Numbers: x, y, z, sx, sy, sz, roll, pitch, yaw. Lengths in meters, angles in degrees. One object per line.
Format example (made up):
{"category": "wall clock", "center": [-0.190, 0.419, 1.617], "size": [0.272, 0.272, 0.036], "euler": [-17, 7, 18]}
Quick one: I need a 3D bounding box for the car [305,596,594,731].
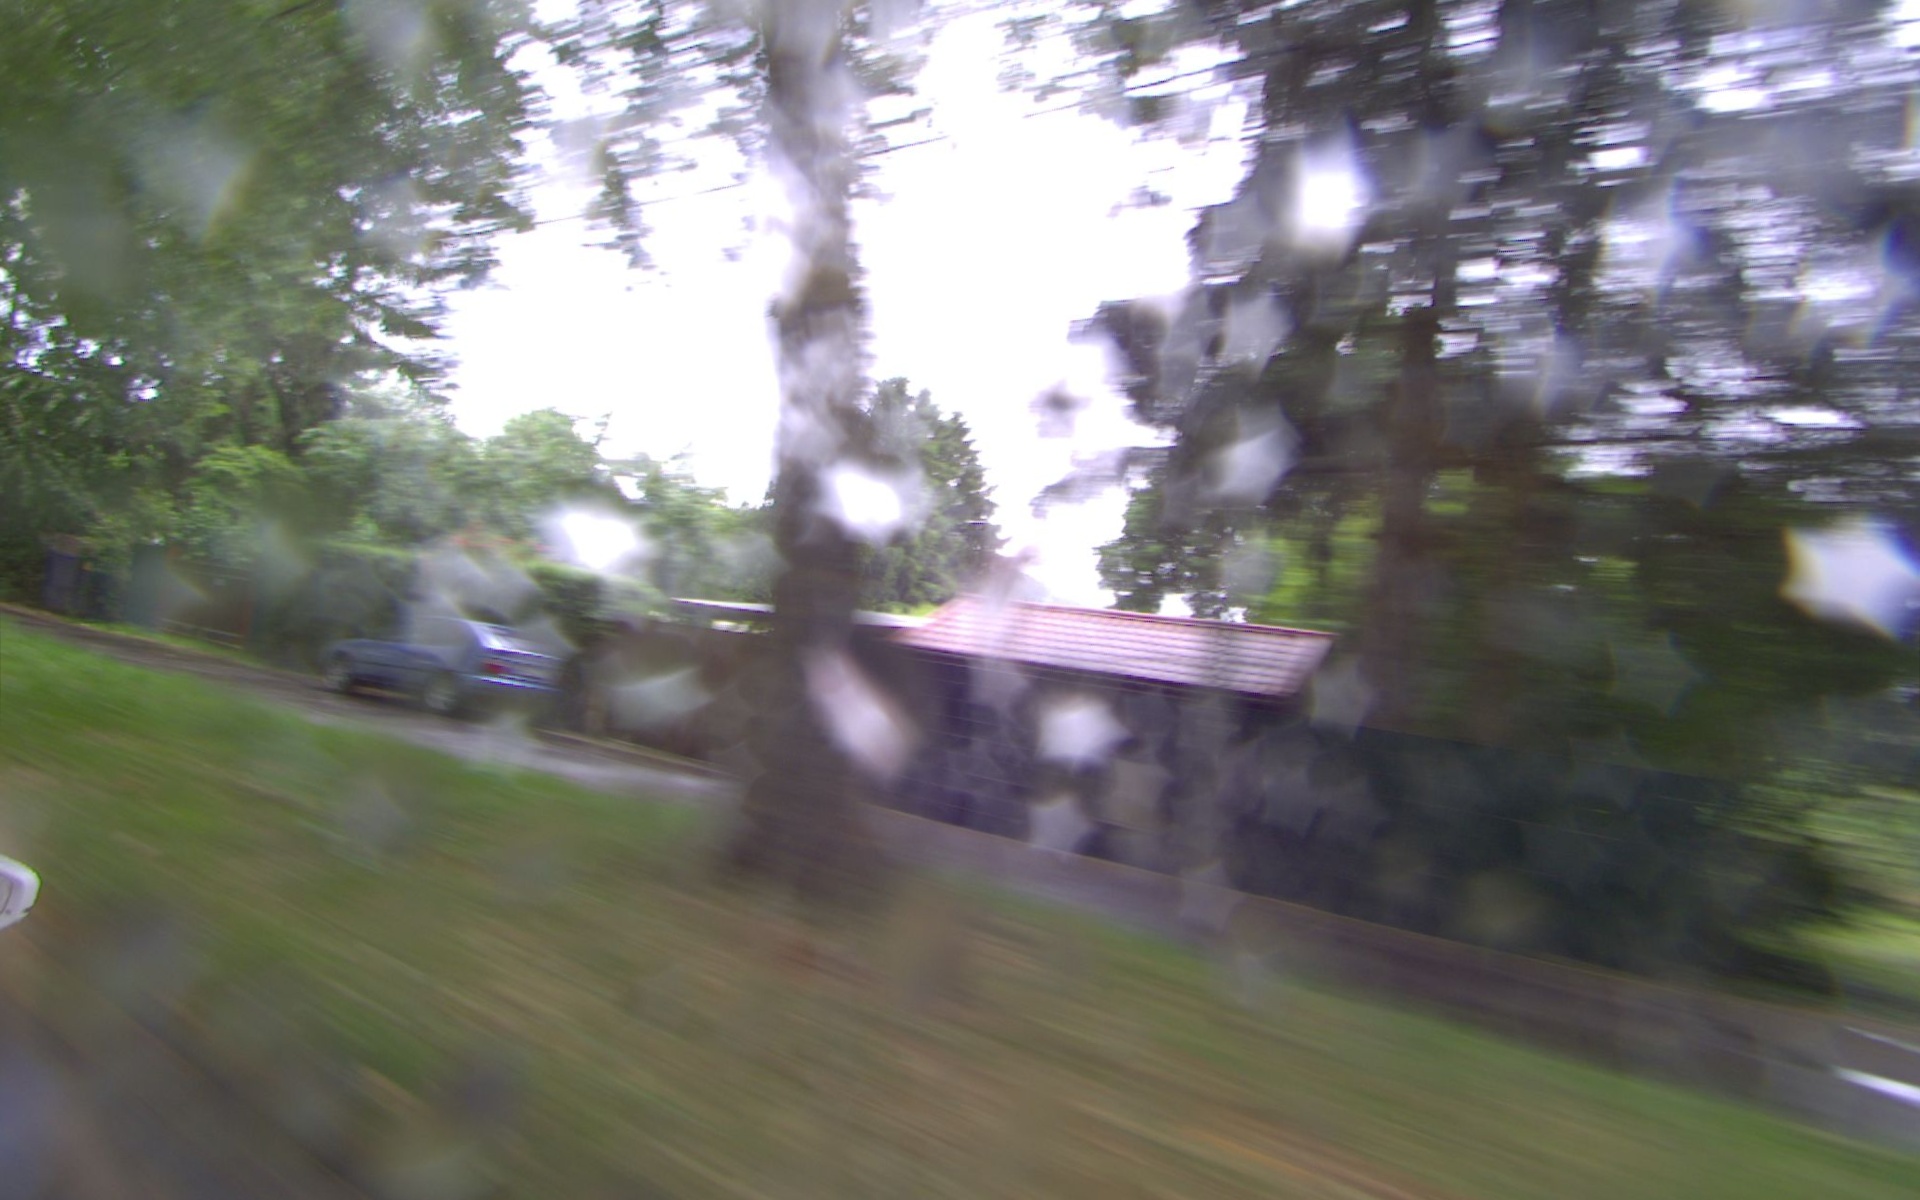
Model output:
{"category": "car", "center": [-7.775, 0.956, 15.314], "size": [3.930, 1.337, 1.805], "euler": [6, -7, 27]}
